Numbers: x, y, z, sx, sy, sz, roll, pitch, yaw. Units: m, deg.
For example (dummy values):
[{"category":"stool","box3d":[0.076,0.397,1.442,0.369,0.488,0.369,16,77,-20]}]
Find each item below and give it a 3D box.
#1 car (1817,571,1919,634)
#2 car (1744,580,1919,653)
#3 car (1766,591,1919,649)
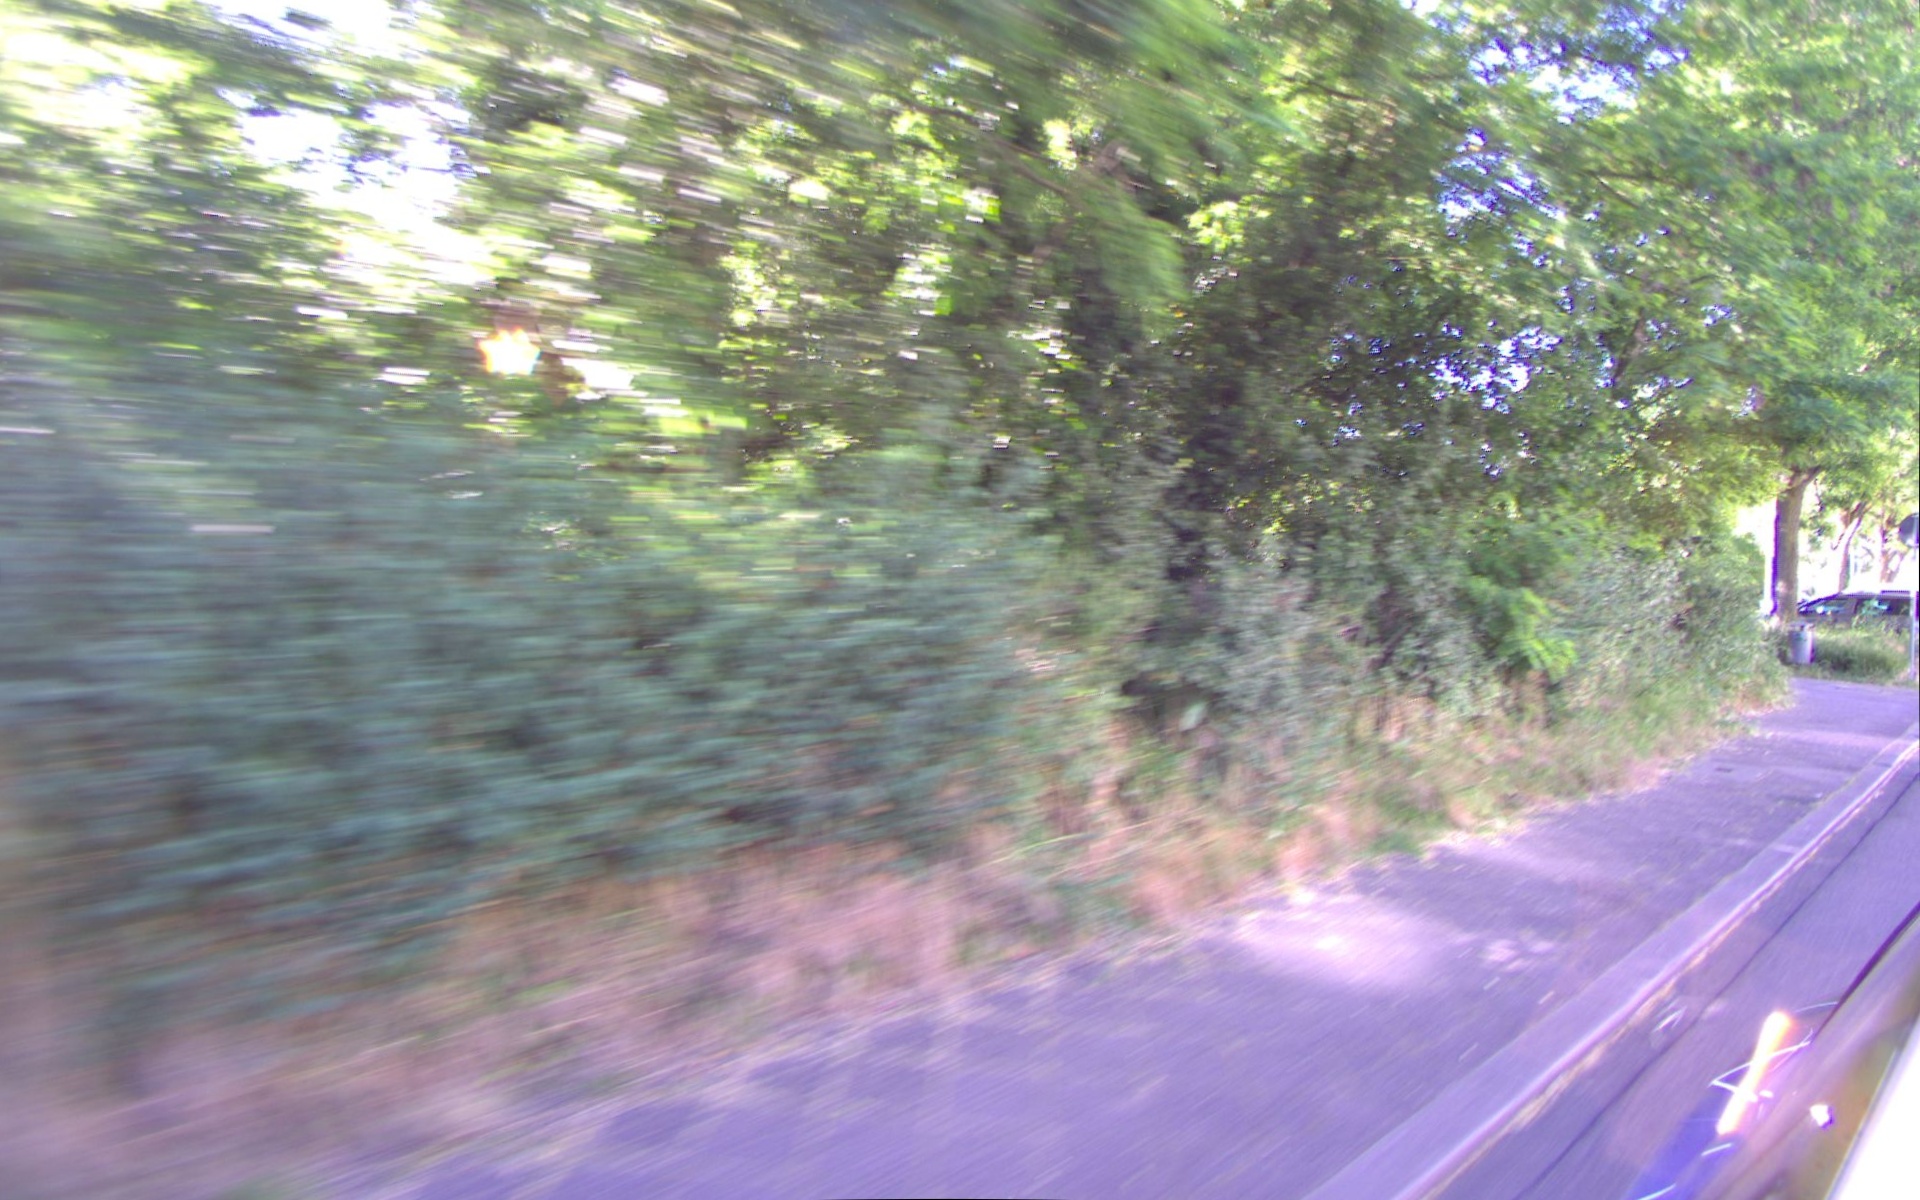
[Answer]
[{"category":"car","box3d":[32.538,0.104,34.772,1.986,2.041,4.459,0,2,-42]},{"category":"car","box3d":[23.301,0.392,26.443,1.744,1.716,4.157,0,2,-41]},{"category":"car","box3d":[25.303,0.545,28.021,1.745,1.431,4.456,0,2,-43]}]
